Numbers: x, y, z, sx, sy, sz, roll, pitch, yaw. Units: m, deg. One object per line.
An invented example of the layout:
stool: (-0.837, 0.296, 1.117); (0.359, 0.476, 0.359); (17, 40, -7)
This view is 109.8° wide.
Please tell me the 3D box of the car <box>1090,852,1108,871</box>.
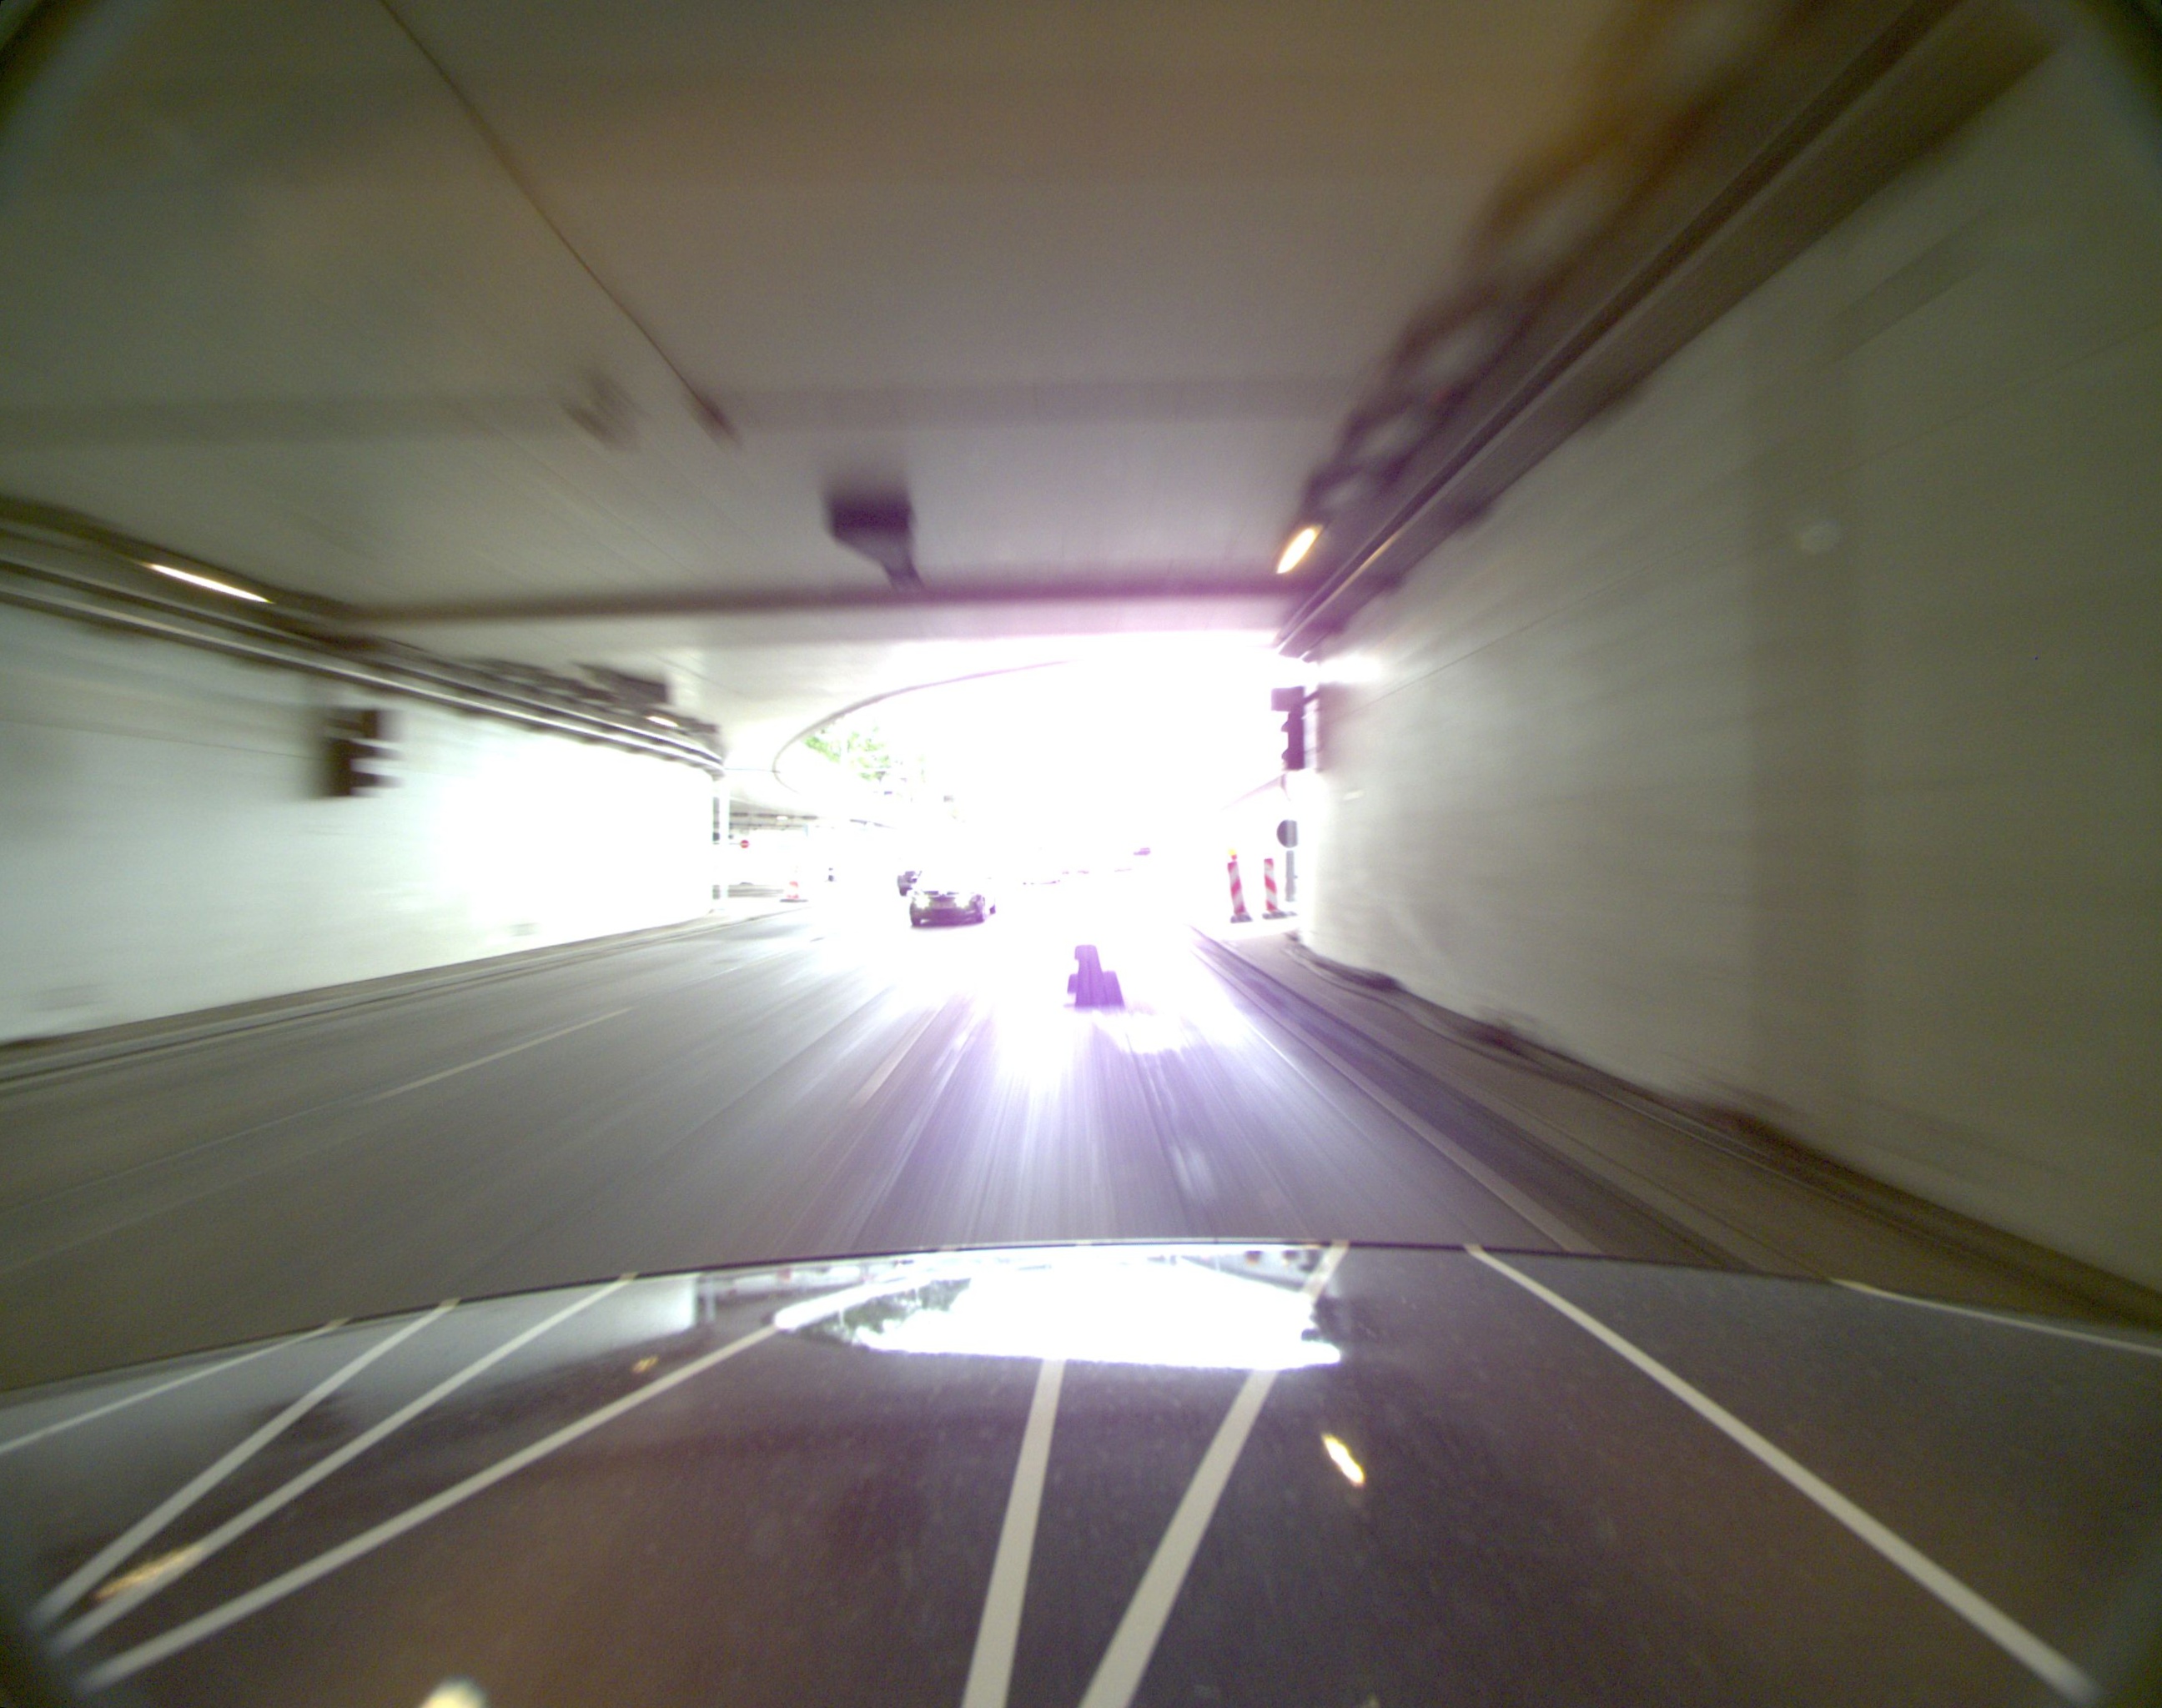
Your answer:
car: (1.810, 0.734, 76.751); (1.639, 1.661, 3.715); (-2, 1, 1)

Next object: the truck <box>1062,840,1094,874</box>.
truck: (-0.176, 0.201, 61.926); (2.073, 2.525, 6.024); (-2, 1, 3)

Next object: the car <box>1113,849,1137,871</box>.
car: (4.154, 0.512, 72.410); (1.935, 1.918, 4.195); (-2, 1, 1)

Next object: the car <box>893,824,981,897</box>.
car: (-6.083, 0.248, 33.149); (2.106, 2.830, 6.862); (-1, 0, 3)

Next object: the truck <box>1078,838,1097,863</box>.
truck: (0.958, -0.585, 108.574); (2.494, 3.369, 6.375); (-2, 1, 1)

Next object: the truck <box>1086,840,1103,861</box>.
truck: (2.027, -0.556, 119.019); (2.494, 3.121, 6.375); (-2, 1, 1)

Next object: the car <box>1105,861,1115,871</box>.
car: (5.538, 2.300, 144.586); (1.639, 1.788, 3.715); (-2, 1, 1)

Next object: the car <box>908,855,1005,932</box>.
car: (-2.903, 0.866, 18.441); (1.639, 1.552, 3.716); (-2, 1, 1)

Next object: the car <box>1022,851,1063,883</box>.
car: (-1.945, 0.648, 39.466); (1.764, 1.552, 3.819); (-2, 0, 2)

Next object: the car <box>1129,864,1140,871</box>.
car: (11.583, 2.893, 165.147); (1.950, 1.524, 4.000); (-3, -1, 0)

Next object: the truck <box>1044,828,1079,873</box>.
truck: (-2.003, -0.489, 82.581); (2.886, 4.447, 10.453); (-2, 1, 3)

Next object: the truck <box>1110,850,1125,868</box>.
truck: (6.022, 0.780, 125.298); (2.138, 2.713, 5.670); (-2, 1, 1)
